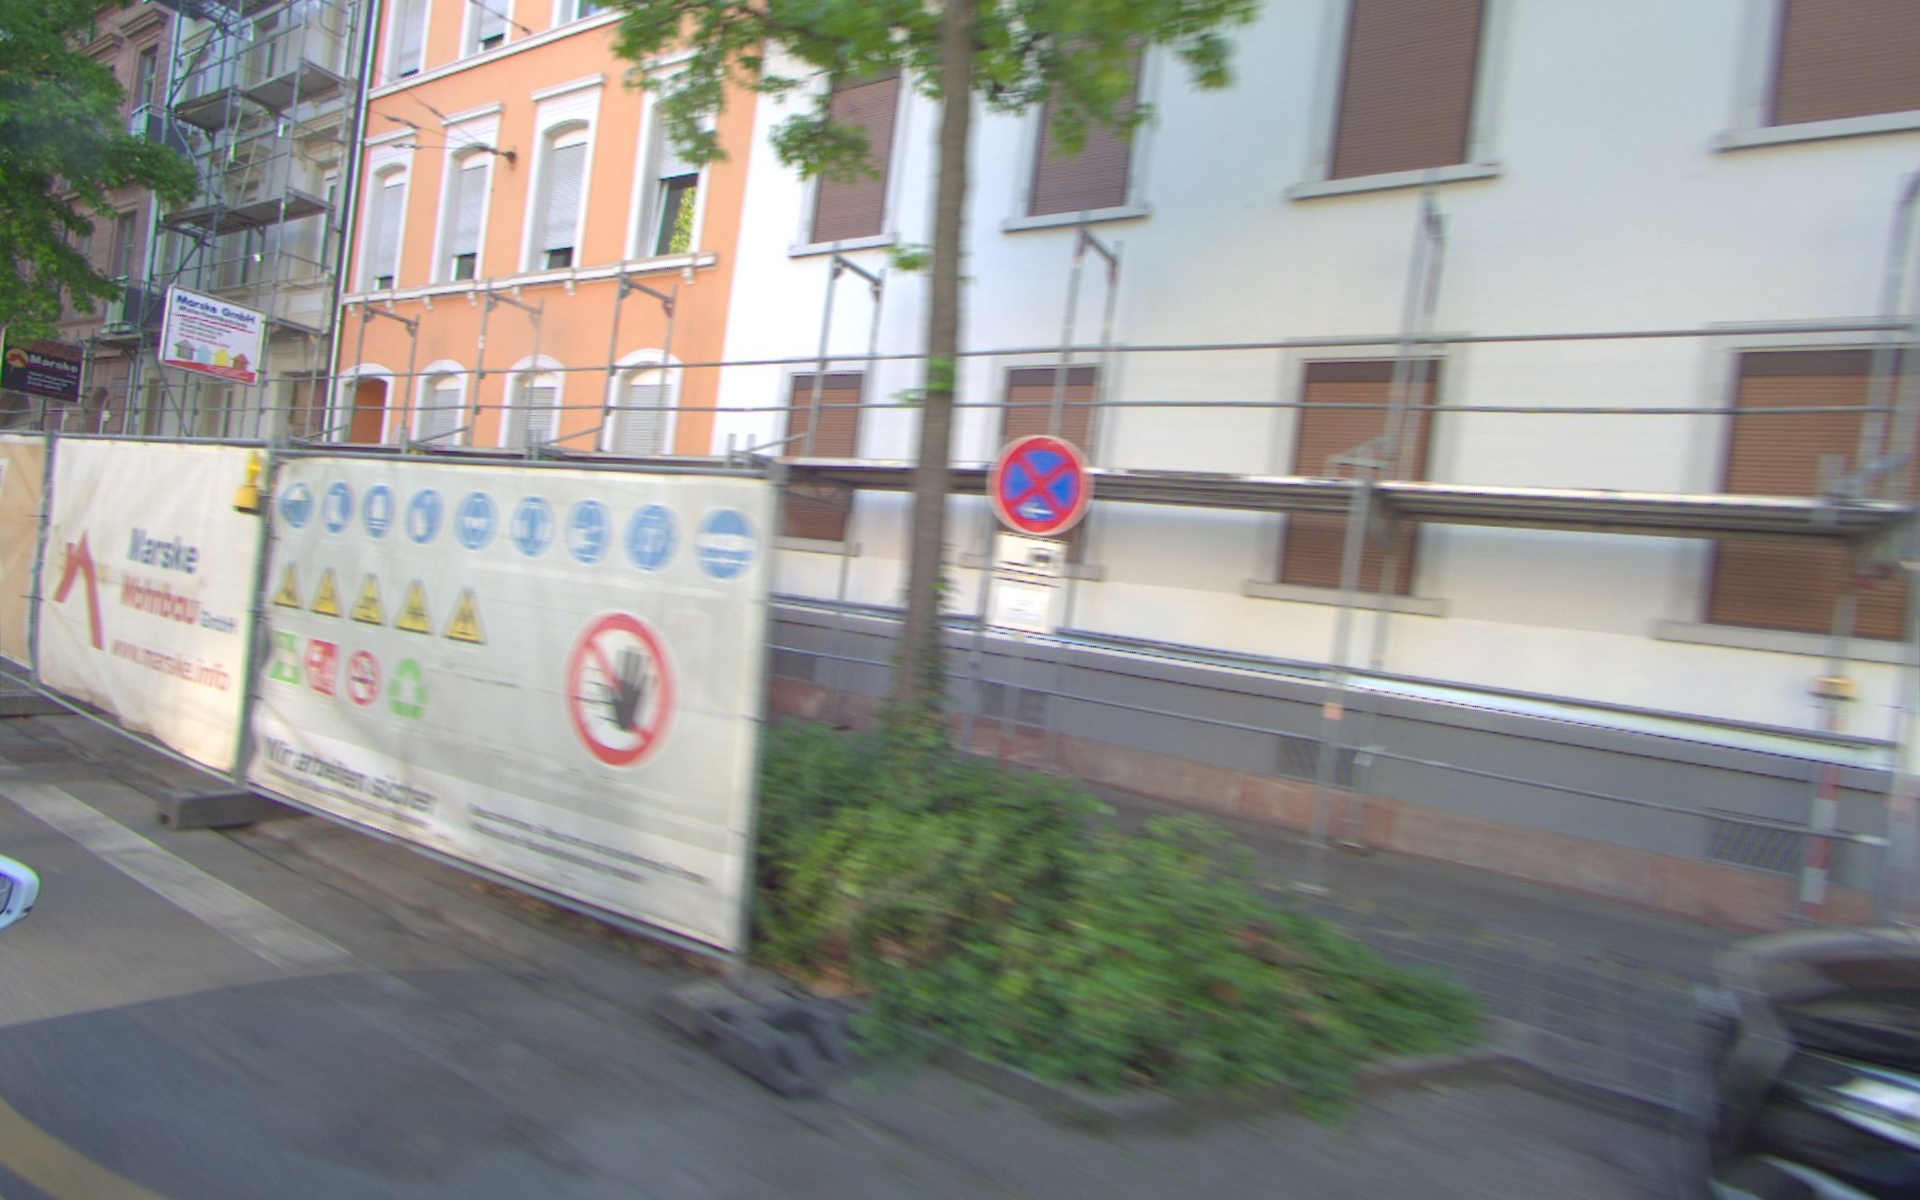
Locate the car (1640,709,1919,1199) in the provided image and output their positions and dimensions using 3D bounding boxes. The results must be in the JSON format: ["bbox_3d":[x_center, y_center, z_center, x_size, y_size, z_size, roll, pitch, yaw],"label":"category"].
[{"bbox_3d":[3.729,1.278,1.776,4.044,1.502,1.764,7,0,35],"label":"car"}]
